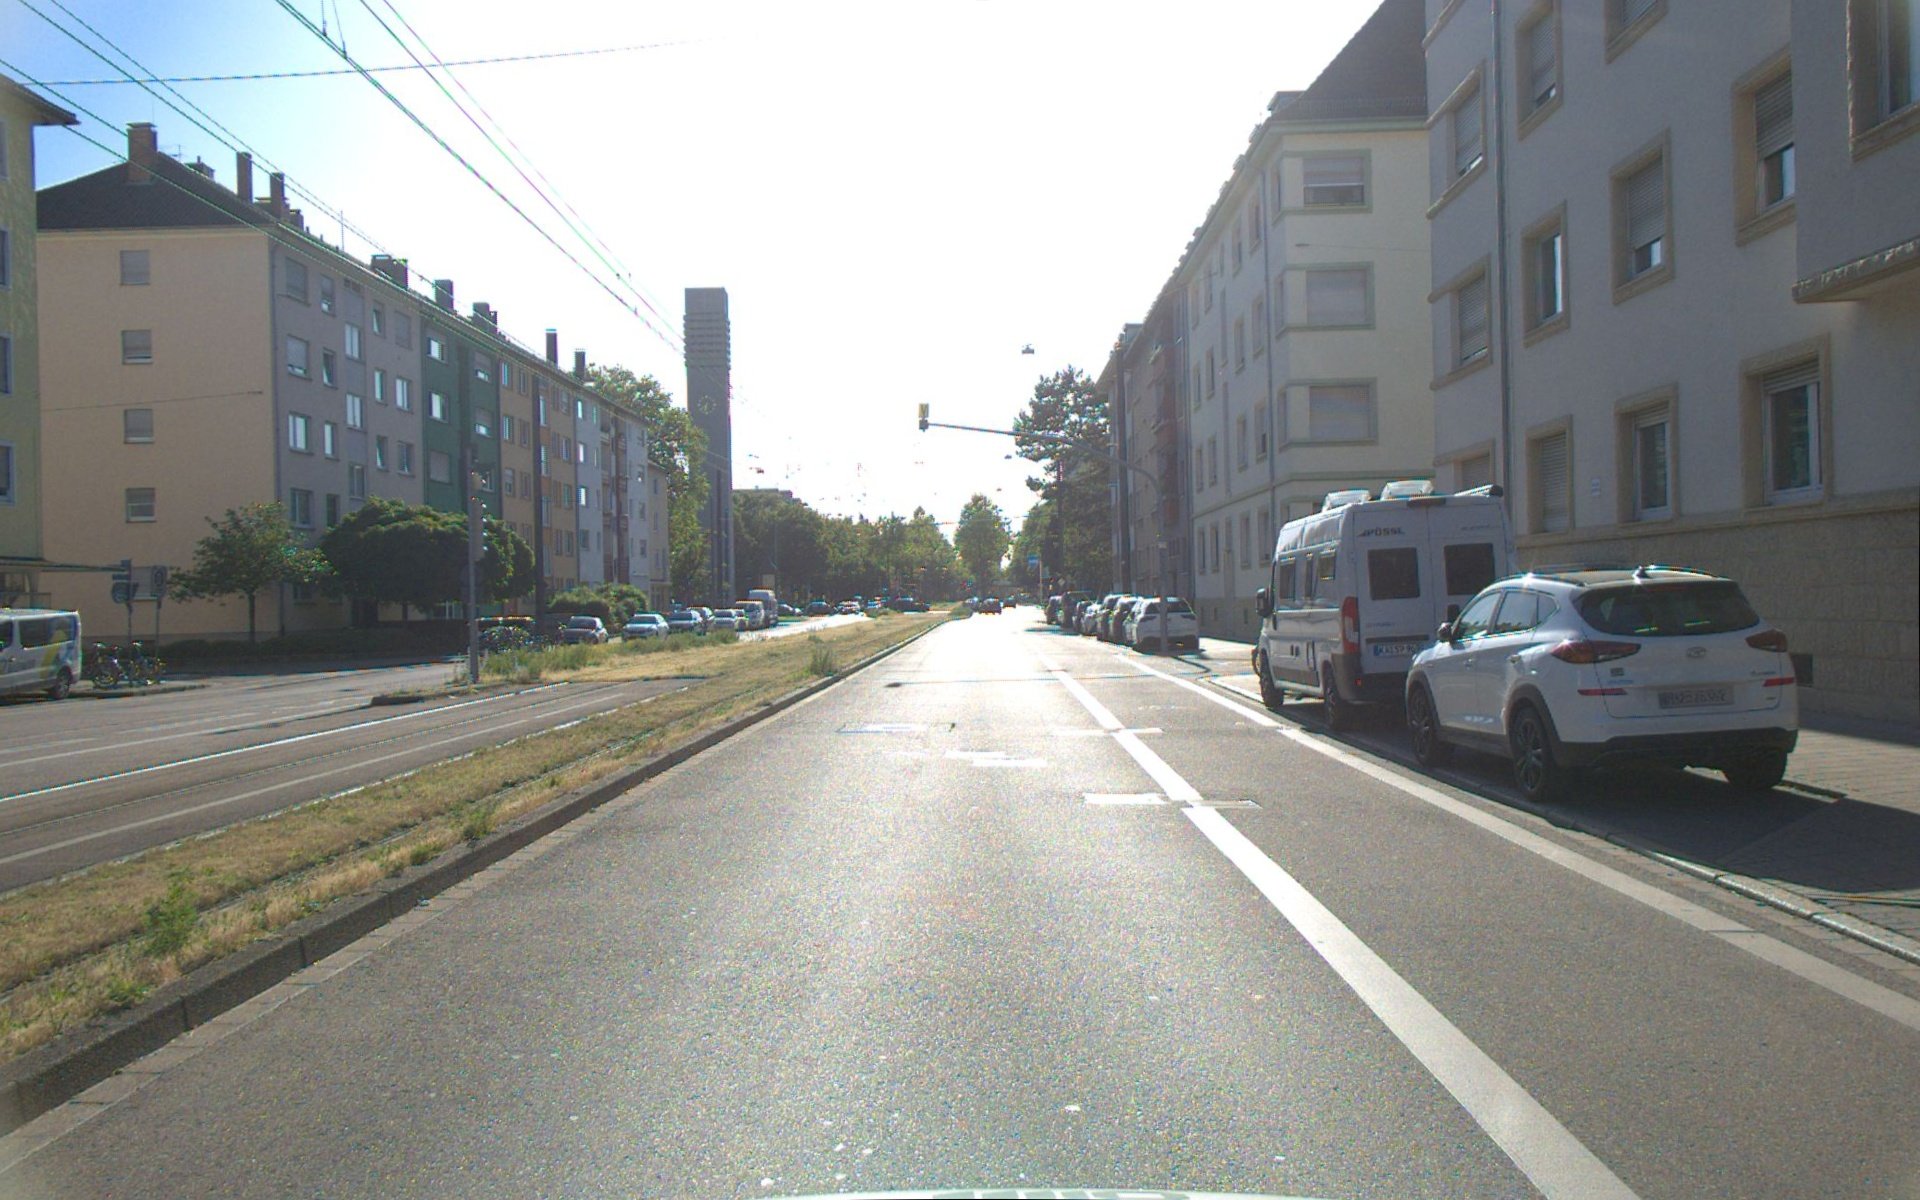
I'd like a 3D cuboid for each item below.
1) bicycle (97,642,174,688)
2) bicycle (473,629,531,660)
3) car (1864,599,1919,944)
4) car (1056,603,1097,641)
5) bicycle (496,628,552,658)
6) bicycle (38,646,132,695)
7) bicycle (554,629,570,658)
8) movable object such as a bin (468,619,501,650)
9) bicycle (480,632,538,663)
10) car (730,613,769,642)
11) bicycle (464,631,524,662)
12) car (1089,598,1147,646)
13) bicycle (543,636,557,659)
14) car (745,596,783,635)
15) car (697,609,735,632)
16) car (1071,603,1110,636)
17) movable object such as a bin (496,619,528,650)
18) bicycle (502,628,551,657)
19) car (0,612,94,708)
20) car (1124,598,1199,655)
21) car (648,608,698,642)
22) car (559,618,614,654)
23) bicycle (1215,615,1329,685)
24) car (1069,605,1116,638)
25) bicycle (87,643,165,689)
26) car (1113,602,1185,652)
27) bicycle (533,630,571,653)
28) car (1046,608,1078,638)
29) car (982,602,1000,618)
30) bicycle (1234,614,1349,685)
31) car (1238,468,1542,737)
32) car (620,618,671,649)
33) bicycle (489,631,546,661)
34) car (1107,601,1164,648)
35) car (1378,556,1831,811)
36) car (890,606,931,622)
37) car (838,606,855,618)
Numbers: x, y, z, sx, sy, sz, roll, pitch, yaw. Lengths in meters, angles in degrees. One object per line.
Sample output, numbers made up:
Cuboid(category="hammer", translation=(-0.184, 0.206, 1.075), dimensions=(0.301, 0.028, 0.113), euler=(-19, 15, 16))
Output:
Cuboid(category="bicycle", translation=(-21.421, 1.691, 42.990), dimensions=(1.782, 1.125, 0.390), euler=(1, -1, 1))
Cuboid(category="bicycle", translation=(-17.190, 1.658, 62.114), dimensions=(2.004, 1.112, 0.616), euler=(1, -1, 7))
Cuboid(category="car", translation=(4.857, 0.702, 5.448), dimensions=(1.588, 1.486, 4.056), euler=(-4, 0, 2))
Cuboid(category="car", translation=(6.530, 1.215, 93.130), dimensions=(1.874, 1.932, 5.135), euler=(-4, -1, 0))
Cuboid(category="bicycle", translation=(-16.940, 1.677, 64.284), dimensions=(2.004, 1.112, 0.616), euler=(1, -1, 7))
Cuboid(category="bicycle", translation=(-21.570, 1.738, 40.781), dimensions=(2.054, 1.125, 0.473), euler=(1, -1, 1))
Cuboid(category="bicycle", translation=(-16.014, 1.730, 66.591), dimensions=(0.500, 1.112, 1.931), euler=(1, 0, -10))
Cuboid(category="movable object such as a bin", translation=(-21.964, 1.579, 76.439), dimensions=(1.123, 1.392, 1.039), euler=(1, -1, 3))
Cuboid(category="bicycle", translation=(-17.135, 1.787, 62.865), dimensions=(2.004, 1.112, 0.616), euler=(1, -1, 7))
Cuboid(category="car", translation=(-15.512, 2.007, 121.951), dimensions=(1.990, 2.056, 5.371), euler=(1, 0, 2))
Cuboid(category="bicycle", translation=(-17.298, 1.717, 61.417), dimensions=(2.004, 1.112, 0.616), euler=(1, -1, 7))
Cuboid(category="car", translation=(6.030, 0.827, 63.453), dimensions=(1.603, 1.676, 4.372), euler=(-4, 0, -1))
Cuboid(category="bicycle", translation=(-16.481, 1.912, 66.507), dimensions=(0.369, 0.881, 2.049), euler=(1, 0, -10))
Cuboid(category="car", translation=(-15.299, 1.191, 129.196), dimensions=(1.990, 2.919, 6.229), euler=(0, 0, 2))
Cuboid(category="car", translation=(-16.213, 1.355, 110.175), dimensions=(1.854, 1.517, 4.702), euler=(1, 0, -1))
Cuboid(category="car", translation=(6.434, 0.970, 81.860), dimensions=(1.602, 1.479, 3.789), euler=(-4, 0, 1))
Cuboid(category="movable object such as a bin", translation=(-20.696, 1.609, 76.385), dimensions=(1.123, 1.392, 1.039), euler=(1, -1, 3))
Cuboid(category="bicycle", translation=(-17.214, 1.679, 65.657), dimensions=(2.009, 1.112, 0.615), euler=(1, -1, 28))
Cuboid(category="car", translation=(-21.471, 1.295, 36.480), dimensions=(1.953, 1.983, 5.498), euler=(1, 0, -2))
Cuboid(category="car", translation=(5.718, 0.732, 47.282), dimensions=(1.659, 1.484, 4.380), euler=(-2, 0, 1))
Cuboid(category="car", translation=(-16.531, 1.436, 95.506), dimensions=(1.952, 1.870, 4.609), euler=(1, 0, 1))
Cuboid(category="car", translation=(-16.257, 1.546, 72.130), dimensions=(1.602, 1.467, 3.733), euler=(1, 0, -1))
Cuboid(category="bicycle", translation=(5.167, 0.843, 27.466), dimensions=(1.885, 1.106, 0.470), euler=(-3, -1, 45))
Cuboid(category="car", translation=(5.914, 0.944, 74.055), dimensions=(1.668, 1.297, 4.303), euler=(-5, -1, 0))
Cuboid(category="bicycle", translation=(-21.438, 1.686, 42.524), dimensions=(1.782, 1.125, 0.390), euler=(1, -1, 1))
Cuboid(category="car", translation=(6.013, 0.830, 53.090), dimensions=(1.603, 1.484, 4.079), euler=(-2, 0, -3))
Cuboid(category="bicycle", translation=(-16.333, 1.651, 66.188), dimensions=(1.550, 0.885, 0.417), euler=(1, -1, 23))
Cuboid(category="car", translation=(6.669, 1.491, 108.198), dimensions=(1.840, 1.746, 4.935), euler=(-4, -1, 2))
Cuboid(category="car", translation=(3.074, 0.991, 164.522), dimensions=(1.660, 1.535, 3.698), euler=(1, 0, -1))
Cuboid(category="bicycle", translation=(5.564, 0.847, 27.843), dimensions=(1.885, 1.105, 0.471), euler=(-4, 0, 44))
Cuboid(category="car", translation=(5.112, 0.044, 20.761), dimensions=(2.107, 2.743, 6.292), euler=(-3, 0, 1))
Cuboid(category="car", translation=(-16.157, 1.703, 85.043), dimensions=(1.693, 1.480, 4.376), euler=(0, 0, 1))
Cuboid(category="bicycle", translation=(-17.019, 1.762, 63.584), dimensions=(2.004, 1.112, 0.616), euler=(1, -1, 7))
Cuboid(category="car", translation=(6.141, 0.830, 58.189), dimensions=(1.602, 1.544, 4.189), euler=(-2, 0, 1))
Cuboid(category="car", translation=(5.000, 0.582, 13.624), dimensions=(1.810, 1.666, 4.574), euler=(-2, 0, -1))
Cuboid(category="car", translation=(-5.675, 1.610, 190.685), dimensions=(4.453, 1.639, 1.875), euler=(2, -1, -38))
Cuboid(category="car", translation=(-14.652, 1.572, 212.915), dimensions=(1.769, 1.560, 4.361), euler=(-1, -1, 1))
